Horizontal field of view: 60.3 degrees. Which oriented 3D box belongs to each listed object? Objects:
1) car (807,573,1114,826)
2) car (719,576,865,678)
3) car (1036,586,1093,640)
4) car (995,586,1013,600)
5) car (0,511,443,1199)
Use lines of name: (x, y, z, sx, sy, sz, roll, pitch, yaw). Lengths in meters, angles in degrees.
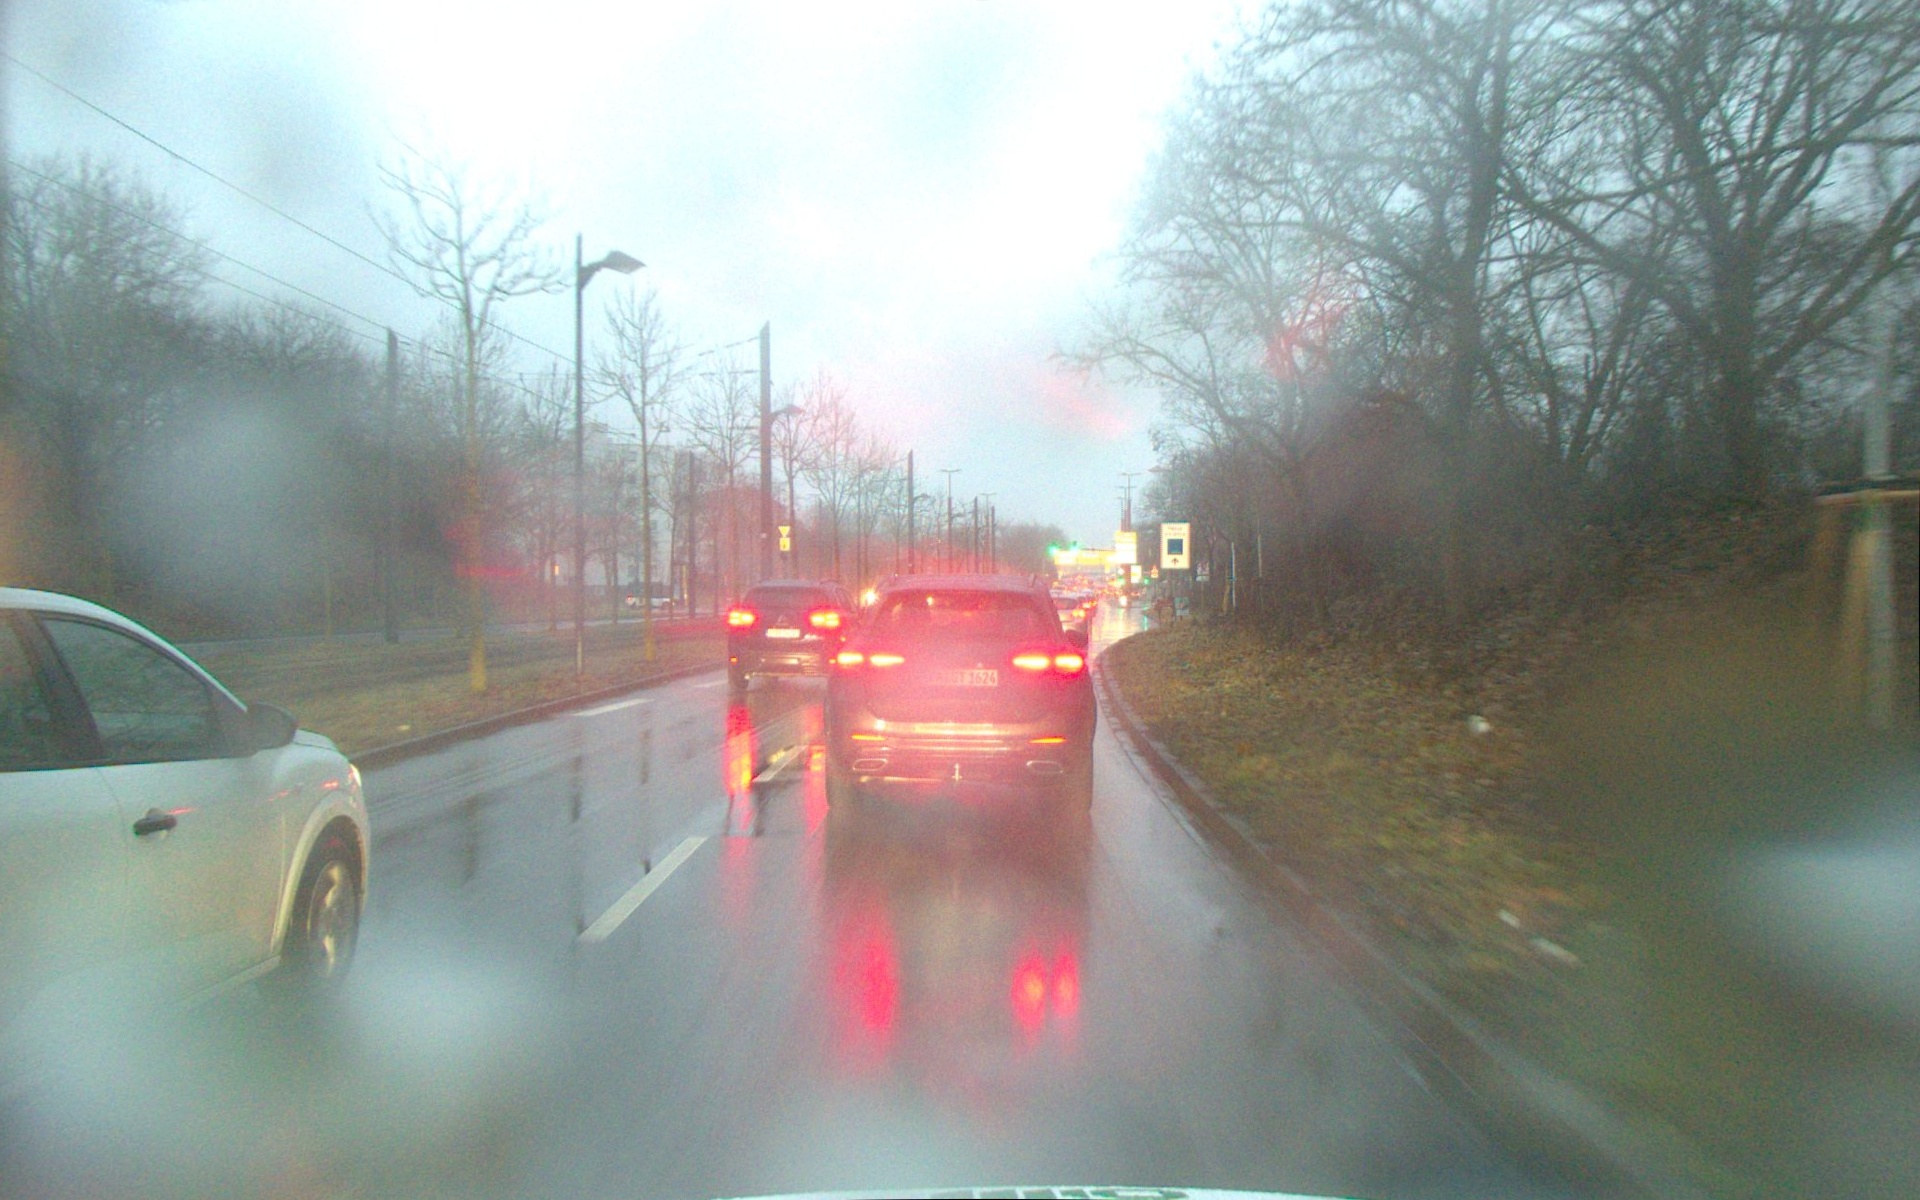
car: (-0.030, 0.623, 12.611, 1.957, 1.612, 3.999, 0, 0, -1)
car: (-2.584, 0.377, 26.266, 1.841, 1.485, 4.001, 0, 1, 1)
car: (3.167, 0.380, 50.458, 1.673, 1.585, 3.998, 0, 0, 3)
car: (5.448, -0.857, 203.366, 1.951, 1.695, 3.839, -1, 0, 5)
car: (-2.955, 0.577, 4.488, 1.673, 1.551, 4.136, 0, 0, 2)
